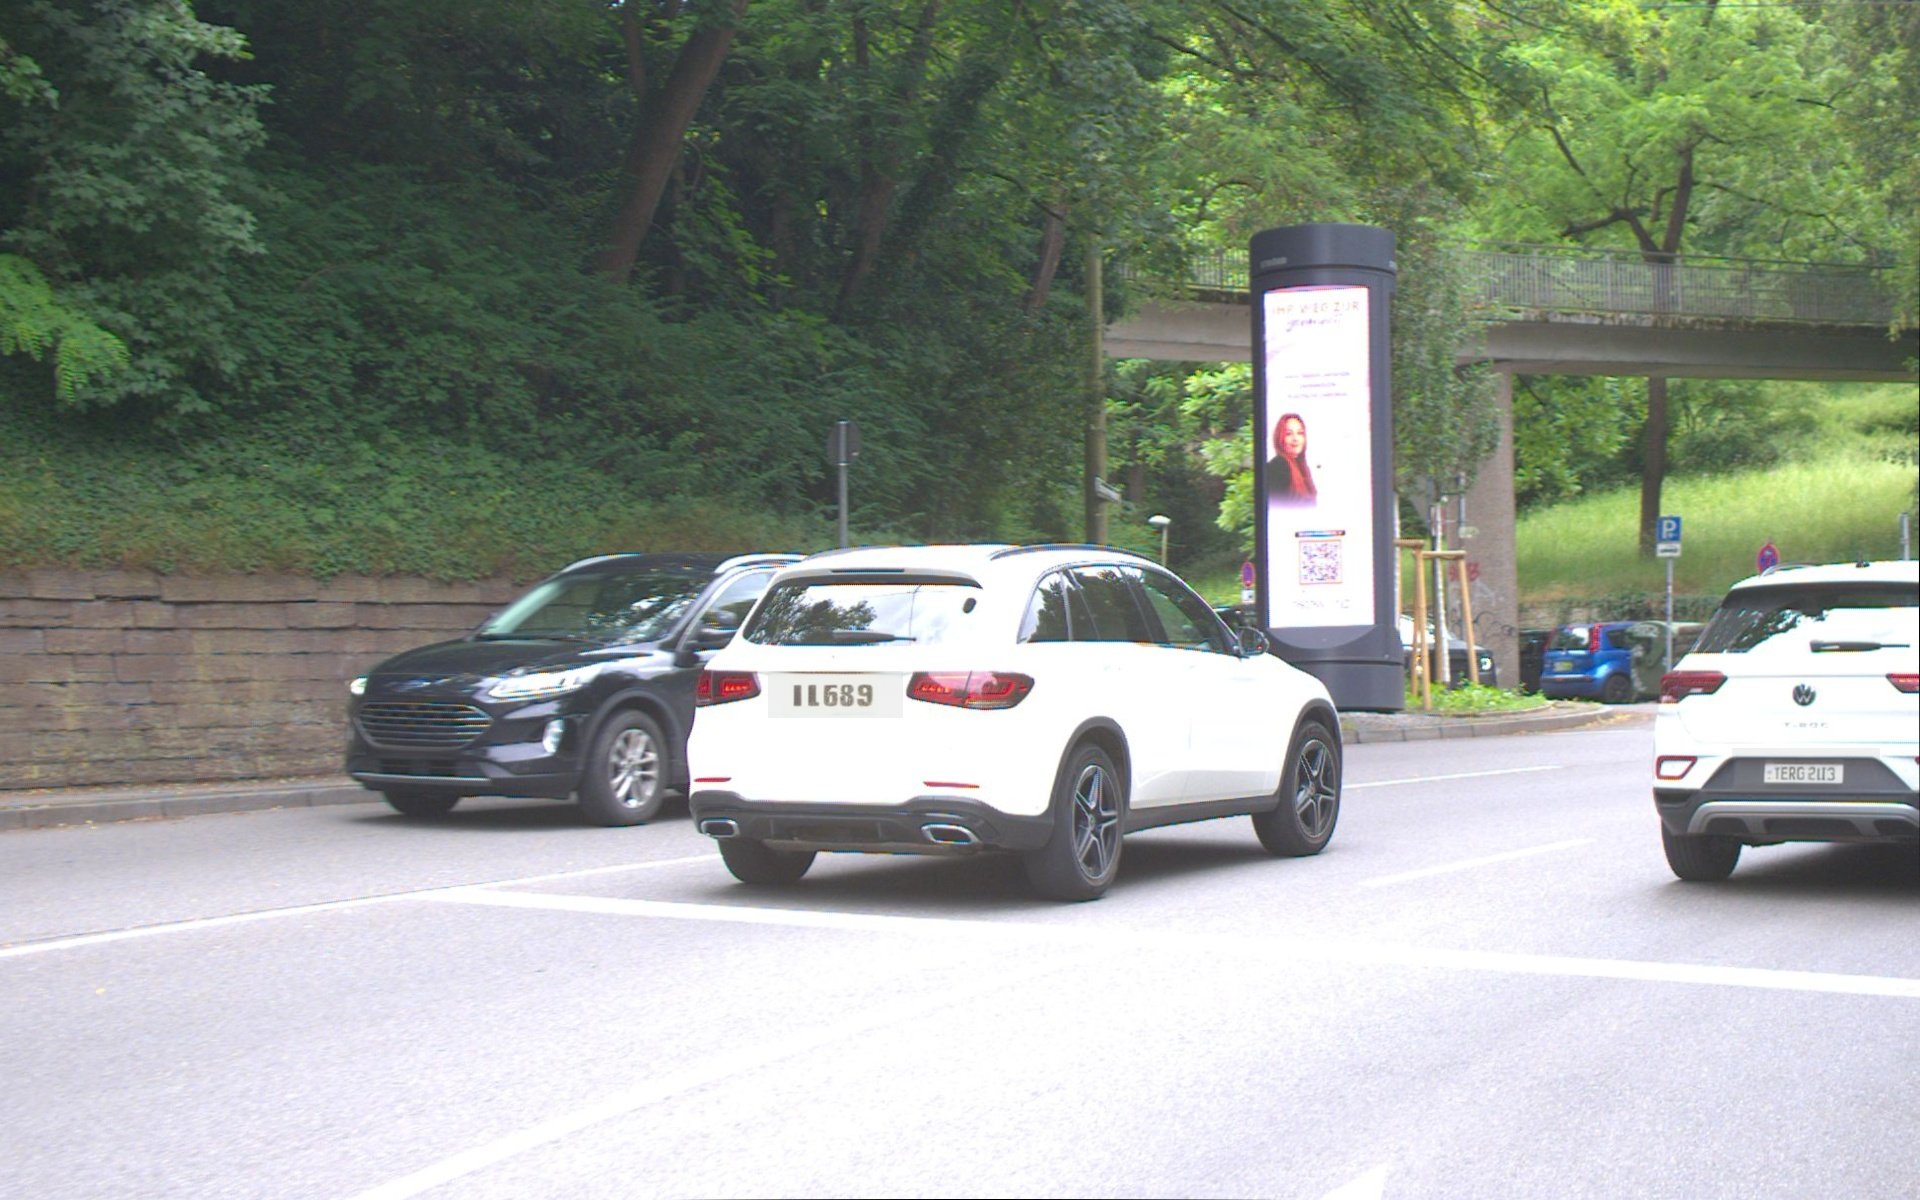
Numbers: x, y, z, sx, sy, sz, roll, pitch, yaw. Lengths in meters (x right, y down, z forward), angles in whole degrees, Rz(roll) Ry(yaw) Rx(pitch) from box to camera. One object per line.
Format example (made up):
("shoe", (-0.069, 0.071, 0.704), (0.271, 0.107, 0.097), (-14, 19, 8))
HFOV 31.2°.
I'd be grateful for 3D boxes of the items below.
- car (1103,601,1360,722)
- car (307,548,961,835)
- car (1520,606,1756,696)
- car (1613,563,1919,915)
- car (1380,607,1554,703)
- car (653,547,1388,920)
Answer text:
("car", (3.952, 0.915, 50.899), (1.802, 1.679, 4.544), (-1, -1, -24))
("car", (-1.922, 0.525, 21.831), (1.757, 1.619, 4.641), (0, 0, 30))
("car", (12.047, 0.917, 61.048), (3.987, 1.547, 1.776), (1, -2, -33))
("car", (4.954, 0.598, 17.463), (1.758, 1.547, 4.330), (1, 1, 32))
("car", (7.625, 0.819, 52.030), (1.748, 1.354, 4.000), (-1, -1, -4))
("car", (0.481, 0.551, 17.314), (1.861, 1.600, 4.664), (1, 1, 27))
